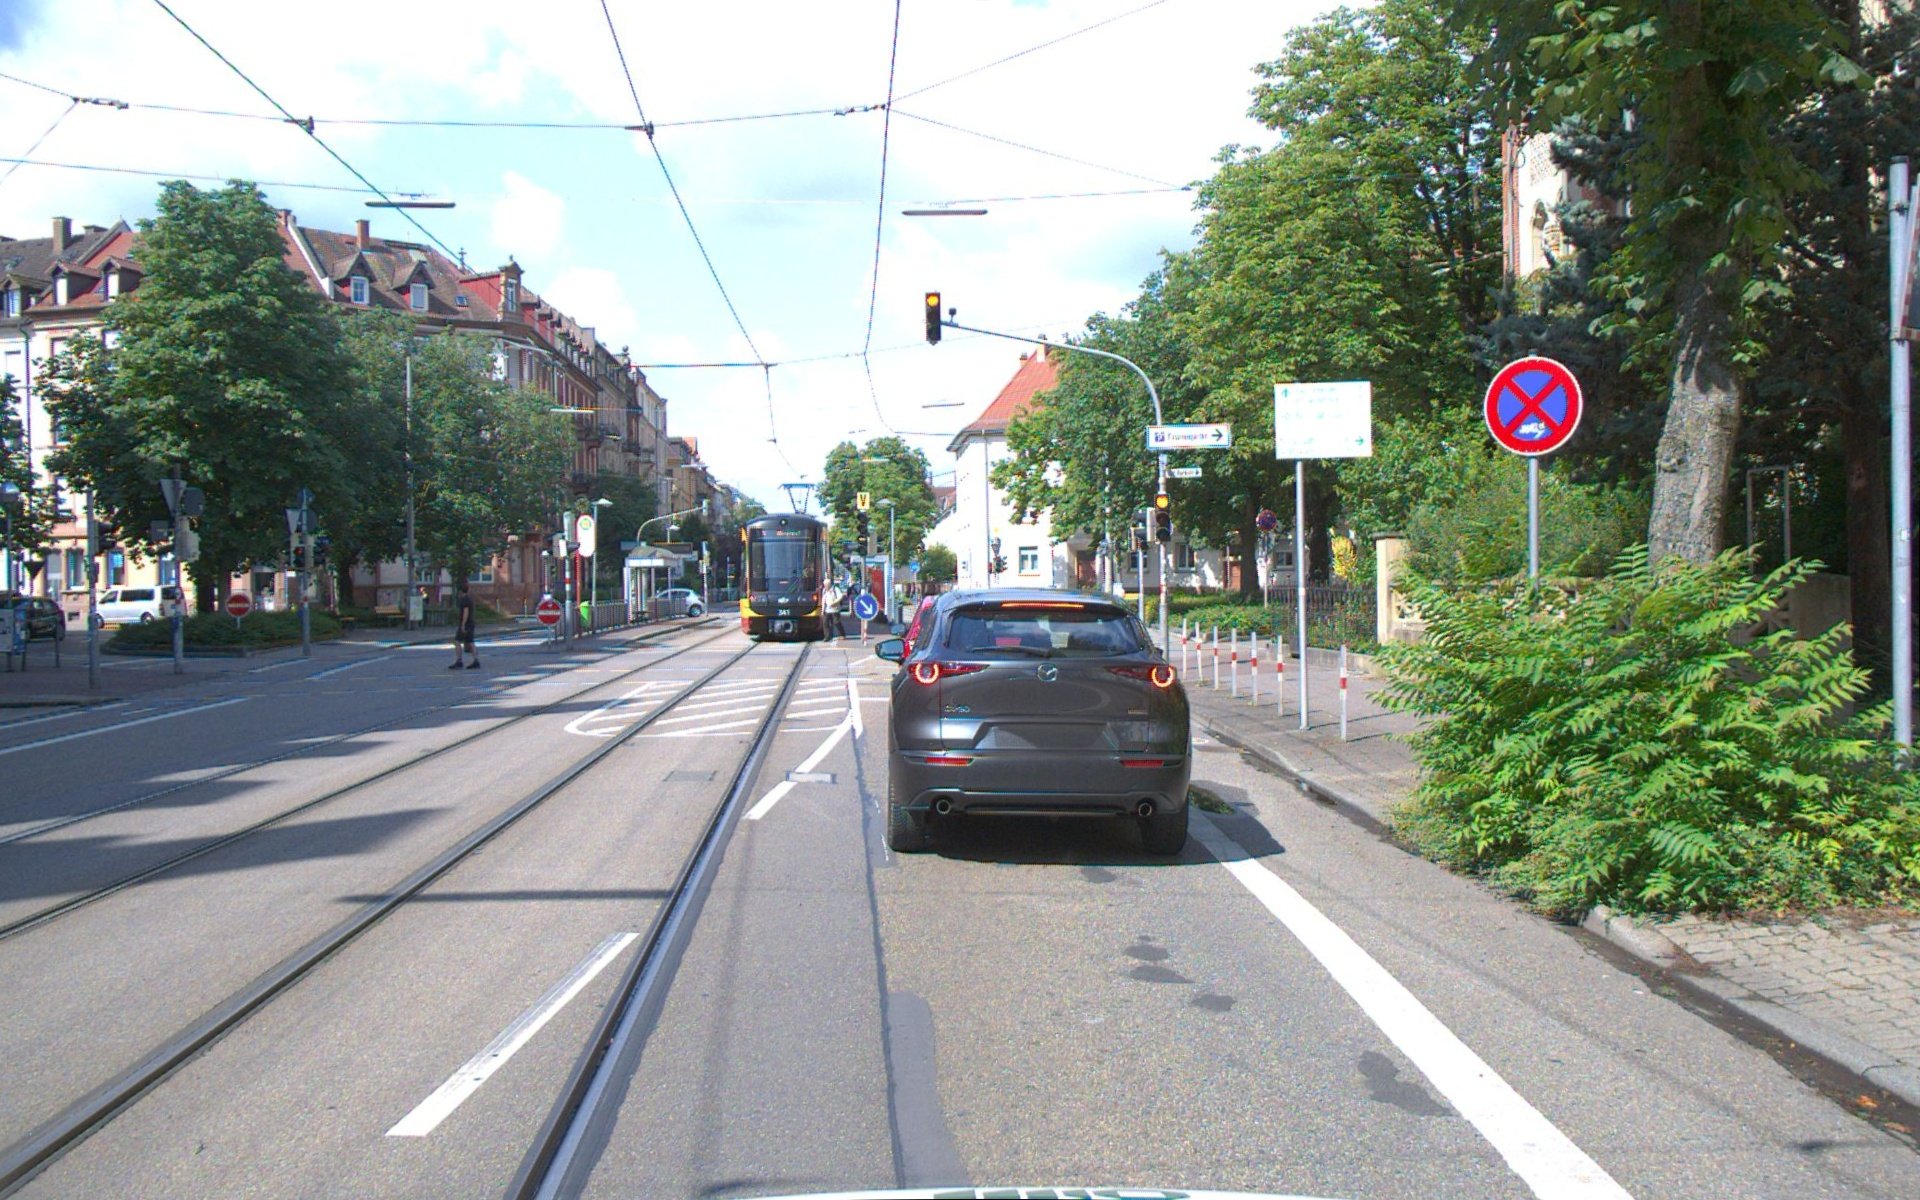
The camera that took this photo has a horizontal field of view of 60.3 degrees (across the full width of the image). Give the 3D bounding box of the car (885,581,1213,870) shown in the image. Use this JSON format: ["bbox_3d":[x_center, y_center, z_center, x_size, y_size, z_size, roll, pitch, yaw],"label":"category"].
[{"bbox_3d":[0.445,0.662,10.923,1.742,1.526,3.999,1,0,-1],"label":"car"}]

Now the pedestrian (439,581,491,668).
[{"bbox_3d":[-9.869,0.484,33.007,0.735,1.713,0.701,-1,0,8],"label":"pedestrian"}]

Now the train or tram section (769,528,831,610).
[{"bbox_3d":[-7.640,-1.544,80.283,2.699,3.551,14.396,-1,1,-5],"label":"train or tram section"}]

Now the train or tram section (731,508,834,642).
[{"bbox_3d":[-5.348,-0.857,51.616,2.699,3.551,14.396,-1,1,-5],"label":"train or tram section"}]

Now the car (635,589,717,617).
[{"bbox_3d":[-14.811,0.129,86.416,3.937,1.384,1.665,-1,0,-26],"label":"car"}]

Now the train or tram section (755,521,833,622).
[{"bbox_3d":[-6.485,-1.199,65.955,2.699,3.551,14.396,-1,1,-5],"label":"train or tram section"}]

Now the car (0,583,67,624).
[{"bbox_3d":[-39.197,0.167,67.913,3.905,1.624,2.000,-1,0,-1],"label":"car"}]

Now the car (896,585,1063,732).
[{"bbox_3d":[0.169,0.605,19.526,1.742,1.526,3.999,1,0,-1],"label":"car"}]

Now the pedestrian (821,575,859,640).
[{"bbox_3d":[-3.233,0.199,44.520,0.711,1.735,0.814,-1,0,-35],"label":"pedestrian"}]

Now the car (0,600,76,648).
[{"bbox_3d":[-32.841,0.821,57.565,1.718,1.545,4.071,-1,0,5],"label":"car"}]

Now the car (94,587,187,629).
[{"bbox_3d":[-39.591,0.386,79.892,3.906,1.937,1.999,-1,0,24],"label":"car"}]
